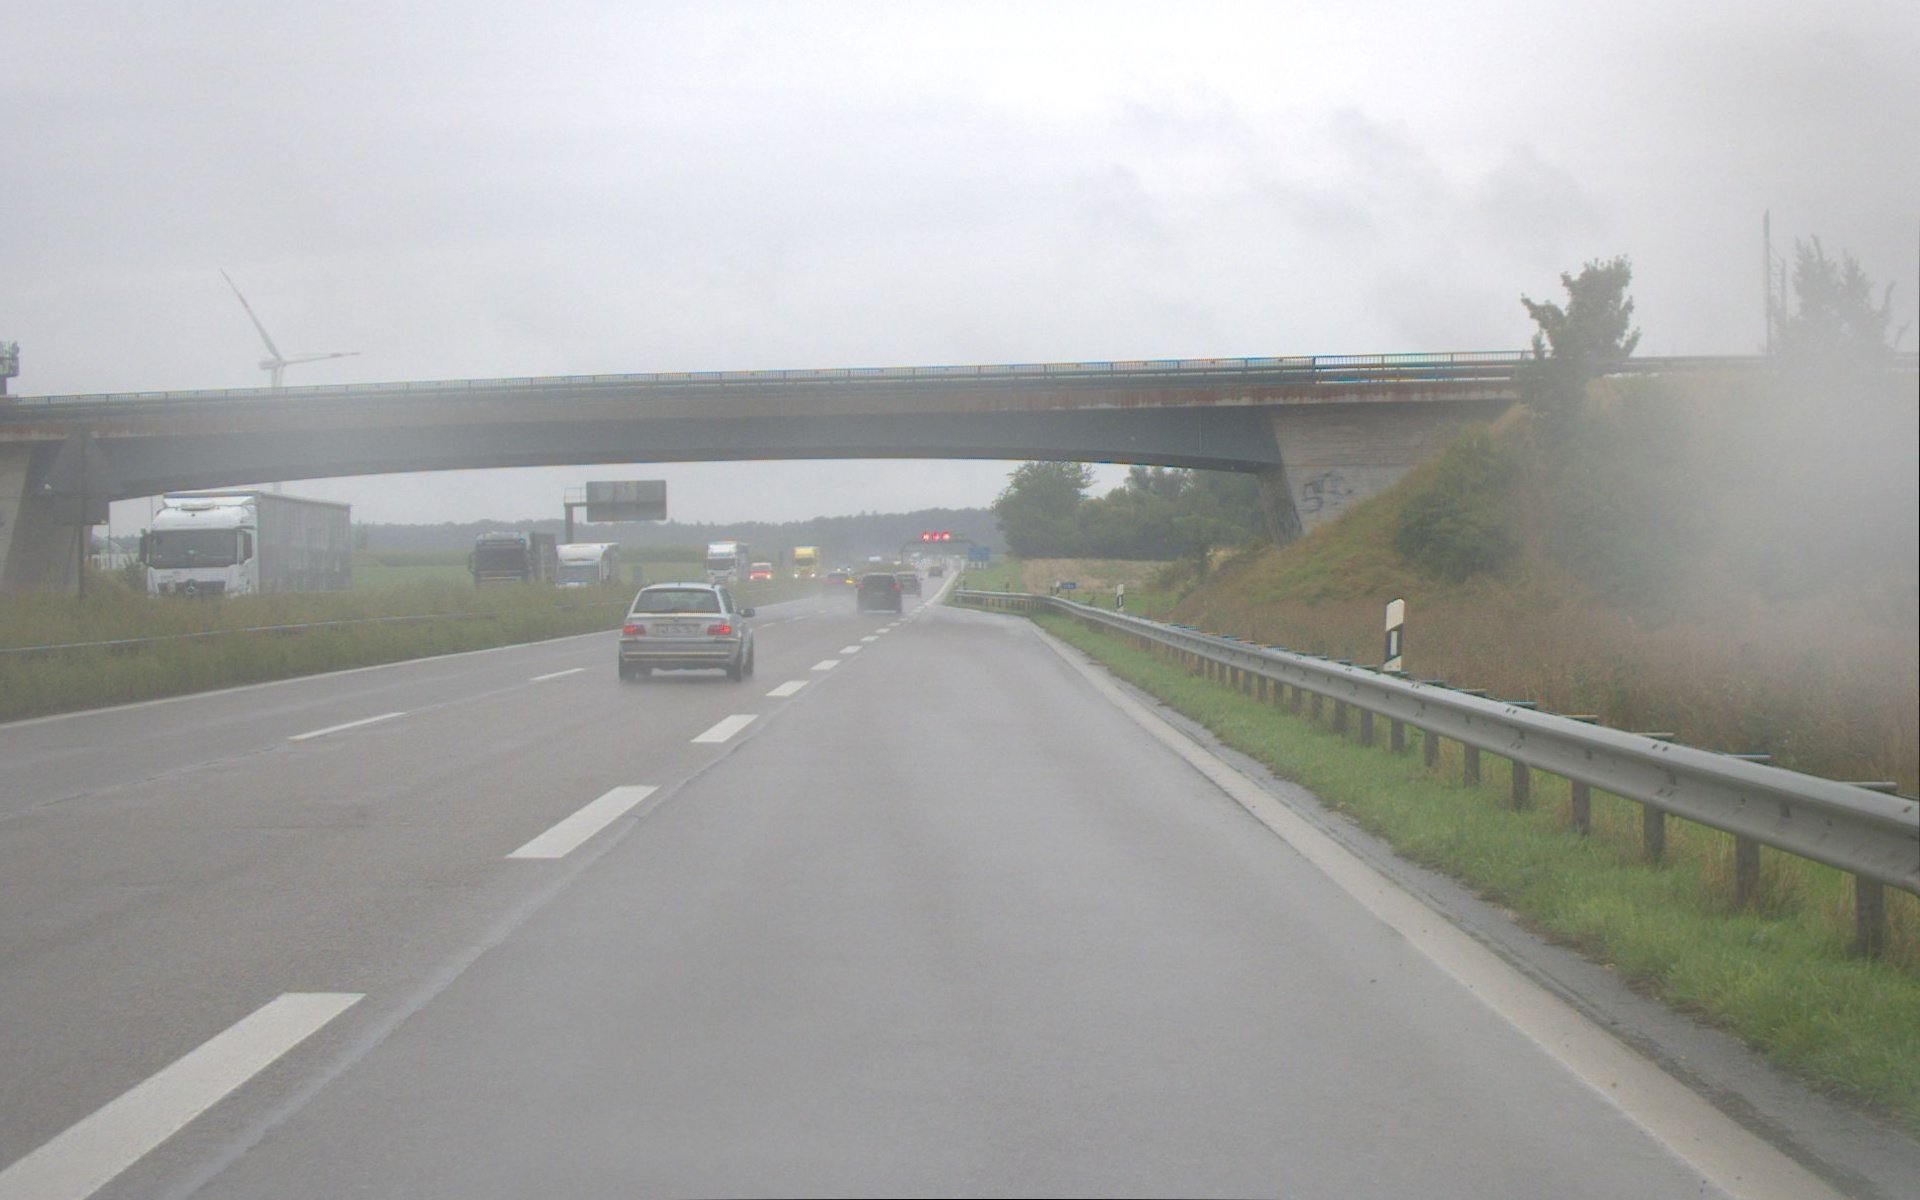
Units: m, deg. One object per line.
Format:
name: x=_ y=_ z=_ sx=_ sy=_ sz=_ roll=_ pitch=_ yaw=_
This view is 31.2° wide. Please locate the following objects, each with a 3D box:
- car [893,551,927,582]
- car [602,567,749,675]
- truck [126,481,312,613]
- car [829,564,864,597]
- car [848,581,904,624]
car: x=-3.115 y=-2.101 z=214.983 sx=1.993 sy=1.691 sz=4.001 roll=-3 pitch=2 yaw=-1
car: x=-4.106 y=0.287 z=50.286 sx=1.874 sy=1.483 sz=4.796 roll=-1 pitch=0 yaw=-2
truck: x=-20.298 y=-1.417 z=94.873 sx=2.992 sy=3.364 sz=11.051 roll=-1 pitch=0 yaw=-2
car: x=-6.850 y=-1.199 z=208.313 sx=1.993 sy=1.743 sz=4.001 roll=-3 pitch=2 yaw=-1
car: x=-3.316 y=0.101 z=135.863 sx=2.145 sy=1.630 sz=4.595 roll=1 pitch=0 yaw=-1
